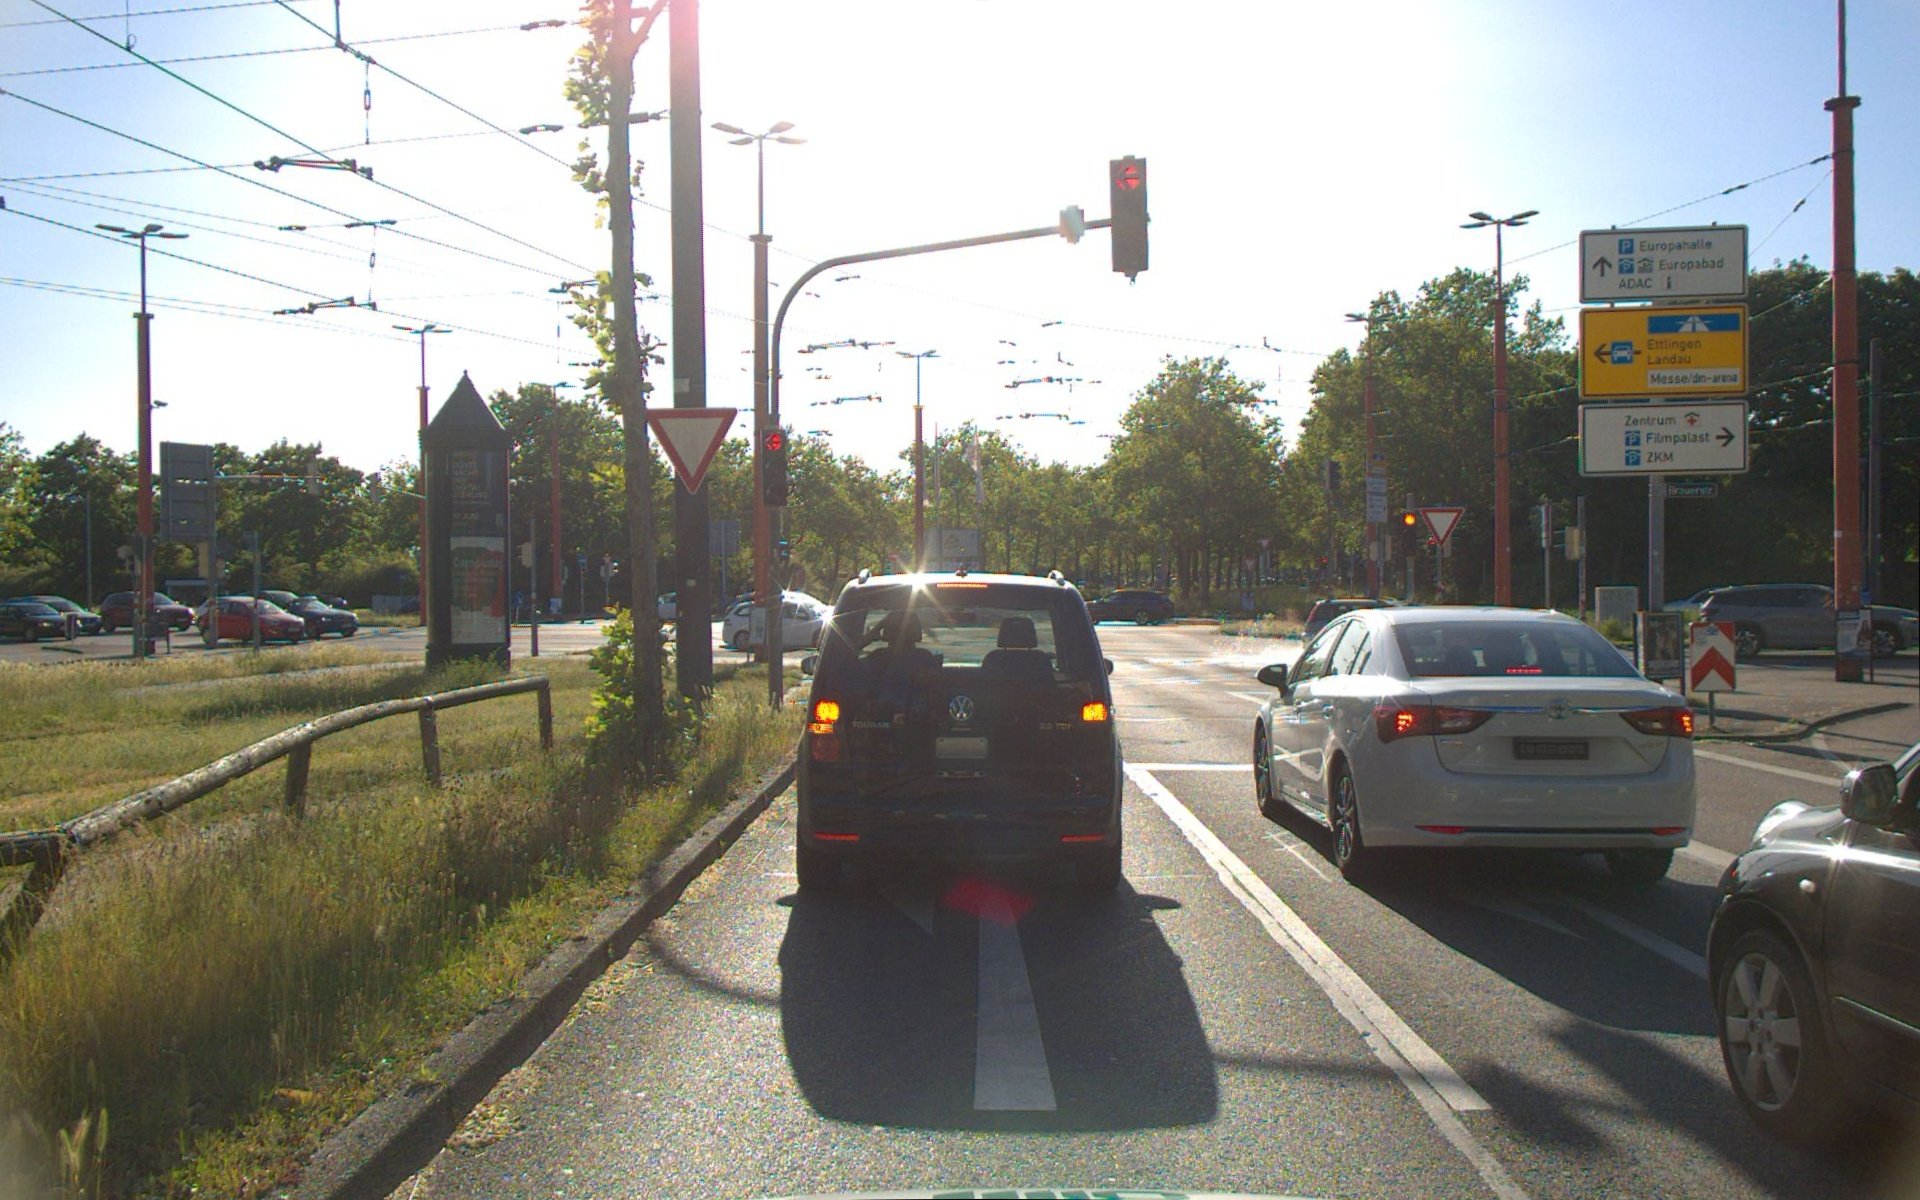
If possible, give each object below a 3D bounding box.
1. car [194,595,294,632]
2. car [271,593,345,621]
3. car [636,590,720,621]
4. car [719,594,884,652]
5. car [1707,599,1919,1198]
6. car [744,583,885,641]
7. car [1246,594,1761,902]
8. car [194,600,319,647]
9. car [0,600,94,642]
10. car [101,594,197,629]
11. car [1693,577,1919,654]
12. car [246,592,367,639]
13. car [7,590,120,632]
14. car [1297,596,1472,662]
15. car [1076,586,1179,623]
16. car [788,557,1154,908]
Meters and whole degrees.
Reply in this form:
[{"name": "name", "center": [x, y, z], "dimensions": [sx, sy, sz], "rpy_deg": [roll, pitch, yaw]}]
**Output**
[{"name": "car", "center": [-29.408, 0.531, 67.930], "dimensions": [4.060, 1.440, 1.542], "rpy_deg": [0, 0, 26]}, {"name": "car", "center": [-36.298, 0.385, 92.084], "dimensions": [3.837, 1.483, 1.655], "rpy_deg": [0, 0, 26]}, {"name": "car", "center": [-13.881, 0.274, 81.300], "dimensions": [3.837, 1.483, 1.655], "rpy_deg": [0, 0, 26]}, {"name": "car", "center": [-4.528, 0.618, 47.065], "dimensions": [4.534, 1.546, 1.654], "rpy_deg": [0, 0, 29]}, {"name": "car", "center": [3.134, 0.741, 3.492], "dimensions": [1.544, 1.465, 3.441], "rpy_deg": [1, 0, 0]}, {"name": "car", "center": [-4.553, 0.341, 51.538], "dimensions": [4.248, 1.721, 1.653], "rpy_deg": [0, 0, 32]}, {"name": "car", "center": [3.013, 0.727, 10.189], "dimensions": [1.762, 1.465, 4.326], "rpy_deg": [1, 0, 0]}, {"name": "car", "center": [-24.378, 0.798, 57.299], "dimensions": [4.102, 1.546, 1.656], "rpy_deg": [0, 0, 24]}, {"name": "car", "center": [-35.597, 0.810, 64.079], "dimensions": [4.107, 1.546, 1.654], "rpy_deg": [0, 0, 30]}, {"name": "car", "center": [-34.636, 0.462, 70.637], "dimensions": [4.060, 1.440, 1.542], "rpy_deg": [0, 0, 26]}, {"name": "car", "center": [19.431, 0.329, 38.071], "dimensions": [4.541, 1.676, 1.654], "rpy_deg": [0, 0, 30]}, {"name": "car", "center": [-24.410, 0.544, 61.745], "dimensions": [4.541, 1.676, 1.753], "rpy_deg": [0, 0, 30]}, {"name": "car", "center": [-37.342, 0.431, 68.911], "dimensions": [4.535, 1.676, 1.755], "rpy_deg": [0, 0, 24]}, {"name": "car", "center": [10.043, 0.649, 39.155], "dimensions": [3.755, 1.466, 1.655], "rpy_deg": [0, 0, 27]}, {"name": "car", "center": [7.117, 0.172, 70.397], "dimensions": [4.055, 1.537, 1.654], "rpy_deg": [0, 0, 28]}, {"name": "car", "center": [0.065, 0.634, 9.967], "dimensions": [1.703, 1.630, 4.326], "rpy_deg": [1, 0, 0]}]
